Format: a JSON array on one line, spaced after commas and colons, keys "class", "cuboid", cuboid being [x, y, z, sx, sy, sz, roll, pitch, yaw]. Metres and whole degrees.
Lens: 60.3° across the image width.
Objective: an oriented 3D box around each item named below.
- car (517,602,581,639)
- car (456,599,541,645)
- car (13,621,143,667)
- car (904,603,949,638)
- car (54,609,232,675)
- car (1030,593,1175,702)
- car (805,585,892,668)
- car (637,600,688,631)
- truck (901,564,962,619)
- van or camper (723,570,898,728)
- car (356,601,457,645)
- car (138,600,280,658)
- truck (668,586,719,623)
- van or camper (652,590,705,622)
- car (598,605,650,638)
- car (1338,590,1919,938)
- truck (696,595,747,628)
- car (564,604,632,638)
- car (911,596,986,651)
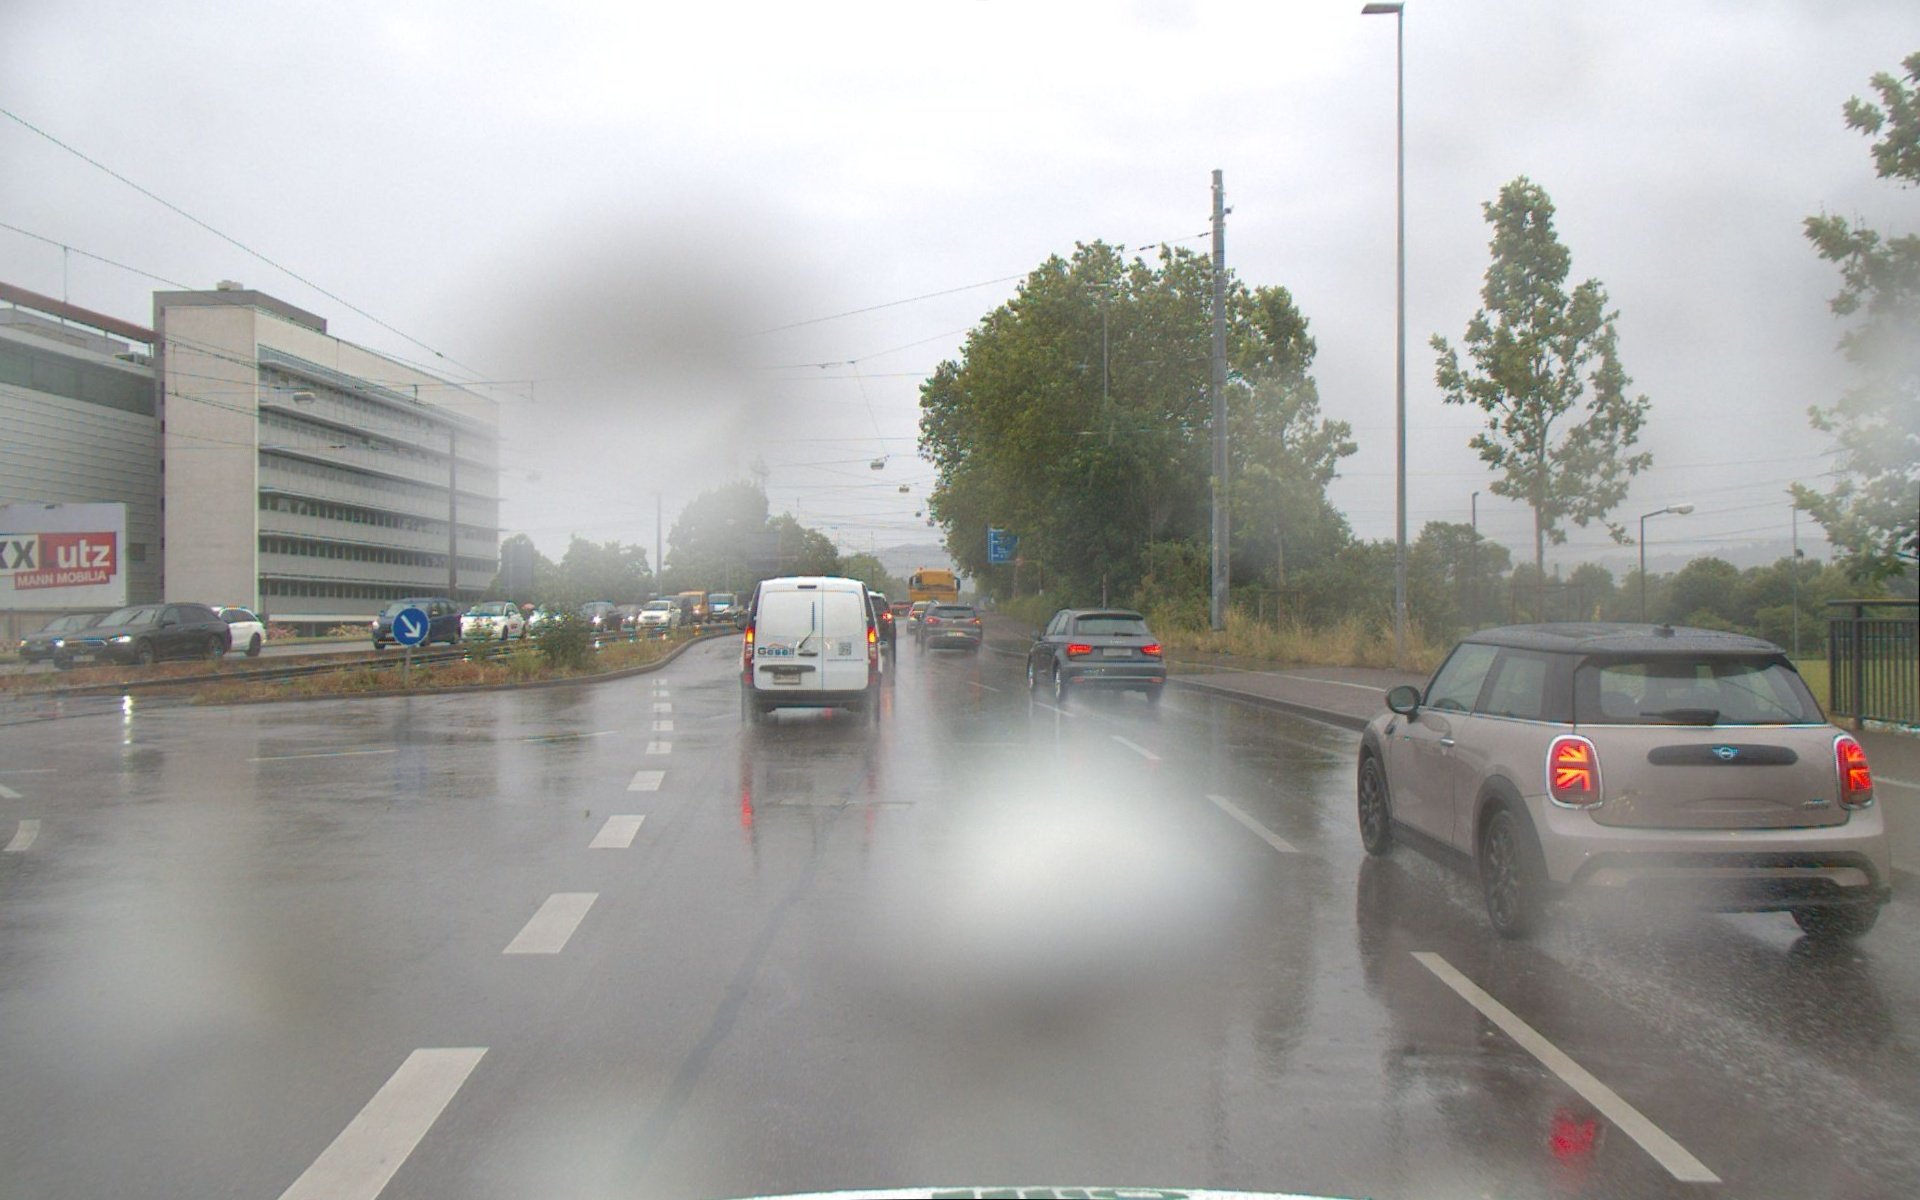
[{"class": "car", "cuboid": [-20.187, 0.986, 81.466, 1.868, 1.634, 4.842, 2, 1, 0]}, {"class": "car", "cuboid": [-17.393, 0.797, 62.517, 1.676, 1.562, 4.051, 1, 1, 6]}, {"class": "car", "cuboid": [-28.217, 1.374, 53.030, 1.676, 1.271, 4.051, 1, 1, 6]}, {"class": "car", "cuboid": [-1.471, 0.877, 73.113, 1.780, 1.438, 3.779, 1, 1, 2]}, {"class": "car", "cuboid": [-18.424, 0.914, 37.504, 1.676, 1.271, 4.051, 1, 1, 6]}, {"class": "car", "cuboid": [2.174, 0.693, 26.273, 1.927, 1.555, 3.991, 1, 1, 0]}, {"class": "car", "cuboid": [-2.542, 0.550, 37.939, 1.862, 1.747, 4.722, 1, 1, -4]}, {"class": "car", "cuboid": [-16.557, 0.837, 92.117, 1.834, 1.601, 4.330, 1, 1, 3]}, {"class": "truck", "cuboid": [-1.488, -0.452, 89.056, 3.048, 2.822, 6.330, 0, 0, 1]}, {"class": "van or camper", "cuboid": [-1.835, 0.541, 21.450, 1.953, 1.815, 3.999, 1, 1, -1]}, {"class": "car", "cuboid": [-18.143, 0.724, 54.423, 1.676, 1.271, 4.463, 1, 1, 2]}, {"class": "car", "cuboid": [-21.752, 0.805, 48.105, 1.774, 1.461, 4.715, 1, 1, 3]}, {"class": "truck", "cuboid": [-19.334, 0.327, 120.357, 2.180, 2.505, 6.070, 1, 0, 5]}, {"class": "van or camper", "cuboid": [-18.934, 0.386, 111.428, 2.256, 2.049, 5.688, 2, 0, 3]}, {"class": "car", "cuboid": [-19.677, 1.226, 97.025, 1.952, 1.866, 4.694, -1, 0, 2]}, {"class": "car", "cuboid": [3.342, 0.684, 8.941, 1.754, 1.438, 3.855, 1, 1, 1]}, {"class": "truck", "cuboid": [-18.745, 0.882, 130.174, 2.384, 2.501, 7.223, 1, 0, 5]}, {"class": "car", "cuboid": [-17.130, 0.970, 78.543, 1.882, 1.448, 5.085, 1, 1, 2]}, {"class": "car", "cuboid": [-0.354, 0.624, 46.733, 1.783, 1.438, 3.774, 1, 1, -6]}]
